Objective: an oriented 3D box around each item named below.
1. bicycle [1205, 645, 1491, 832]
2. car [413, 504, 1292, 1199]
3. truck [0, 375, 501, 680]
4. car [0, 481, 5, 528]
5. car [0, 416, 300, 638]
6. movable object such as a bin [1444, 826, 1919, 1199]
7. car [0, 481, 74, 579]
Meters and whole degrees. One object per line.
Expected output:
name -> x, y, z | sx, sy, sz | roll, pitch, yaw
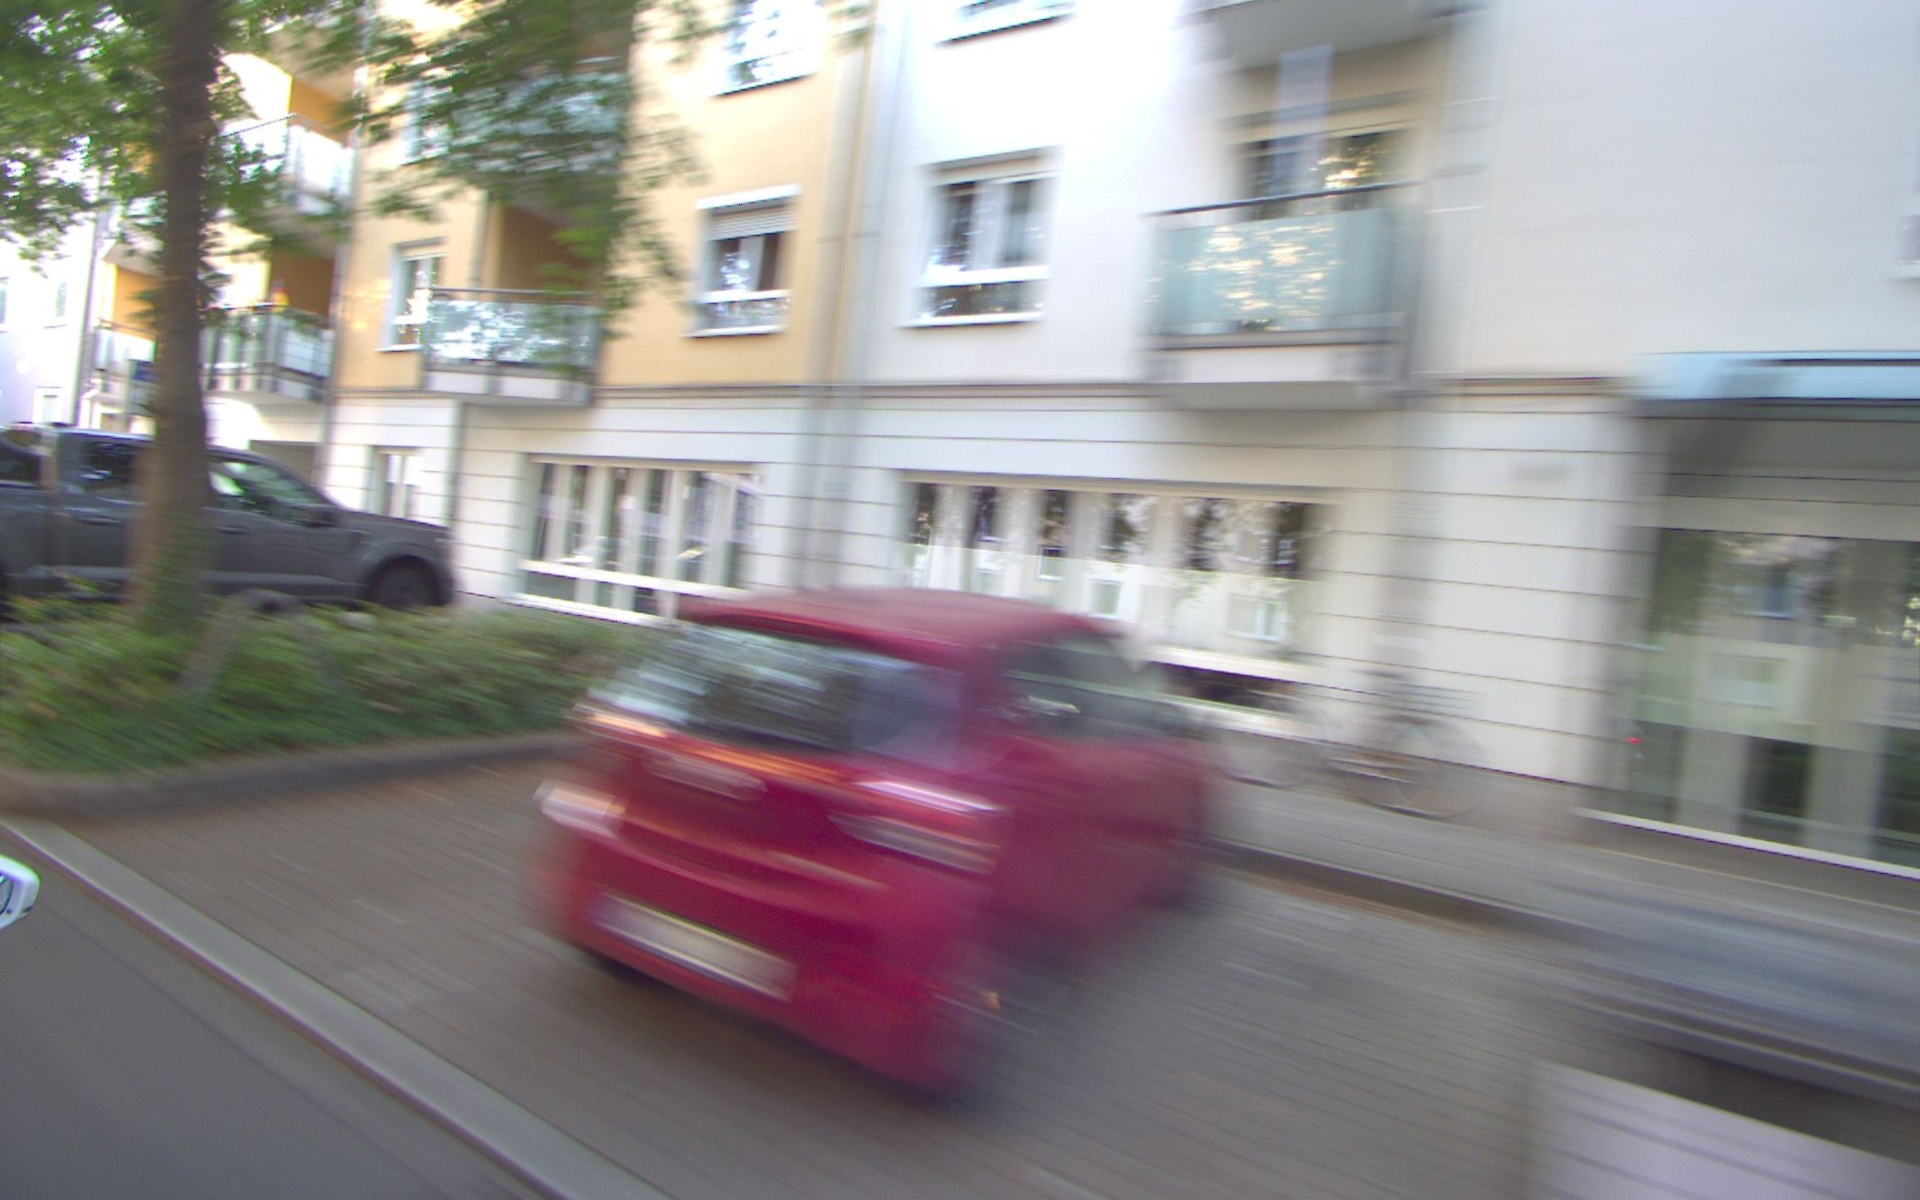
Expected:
bicycle -> 2.864, 0.981, 7.541 | 1.851, 1.050, 0.424 | 7, 2, 32
car -> 0.033, 0.715, 4.441 | 1.846, 1.563, 3.783 | 7, -1, 30
truck -> -7.818, -0.594, 9.565 | 2.176, 2.339, 5.895 | 7, -1, 32
car -> -19.760, -1.700, 17.144 | 1.977, 1.590, 4.629 | 7, -1, 31
car -> -10.207, -0.846, 10.809 | 2.160, 2.092, 4.607 | 7, 0, 30
movable object such as a bin -> 1.387, 1.111, 1.904 | 0.772, 1.098, 0.761 | 7, 2, 33
car -> -17.658, -1.444, 16.094 | 1.959, 1.538, 4.788 | 7, -1, 33
